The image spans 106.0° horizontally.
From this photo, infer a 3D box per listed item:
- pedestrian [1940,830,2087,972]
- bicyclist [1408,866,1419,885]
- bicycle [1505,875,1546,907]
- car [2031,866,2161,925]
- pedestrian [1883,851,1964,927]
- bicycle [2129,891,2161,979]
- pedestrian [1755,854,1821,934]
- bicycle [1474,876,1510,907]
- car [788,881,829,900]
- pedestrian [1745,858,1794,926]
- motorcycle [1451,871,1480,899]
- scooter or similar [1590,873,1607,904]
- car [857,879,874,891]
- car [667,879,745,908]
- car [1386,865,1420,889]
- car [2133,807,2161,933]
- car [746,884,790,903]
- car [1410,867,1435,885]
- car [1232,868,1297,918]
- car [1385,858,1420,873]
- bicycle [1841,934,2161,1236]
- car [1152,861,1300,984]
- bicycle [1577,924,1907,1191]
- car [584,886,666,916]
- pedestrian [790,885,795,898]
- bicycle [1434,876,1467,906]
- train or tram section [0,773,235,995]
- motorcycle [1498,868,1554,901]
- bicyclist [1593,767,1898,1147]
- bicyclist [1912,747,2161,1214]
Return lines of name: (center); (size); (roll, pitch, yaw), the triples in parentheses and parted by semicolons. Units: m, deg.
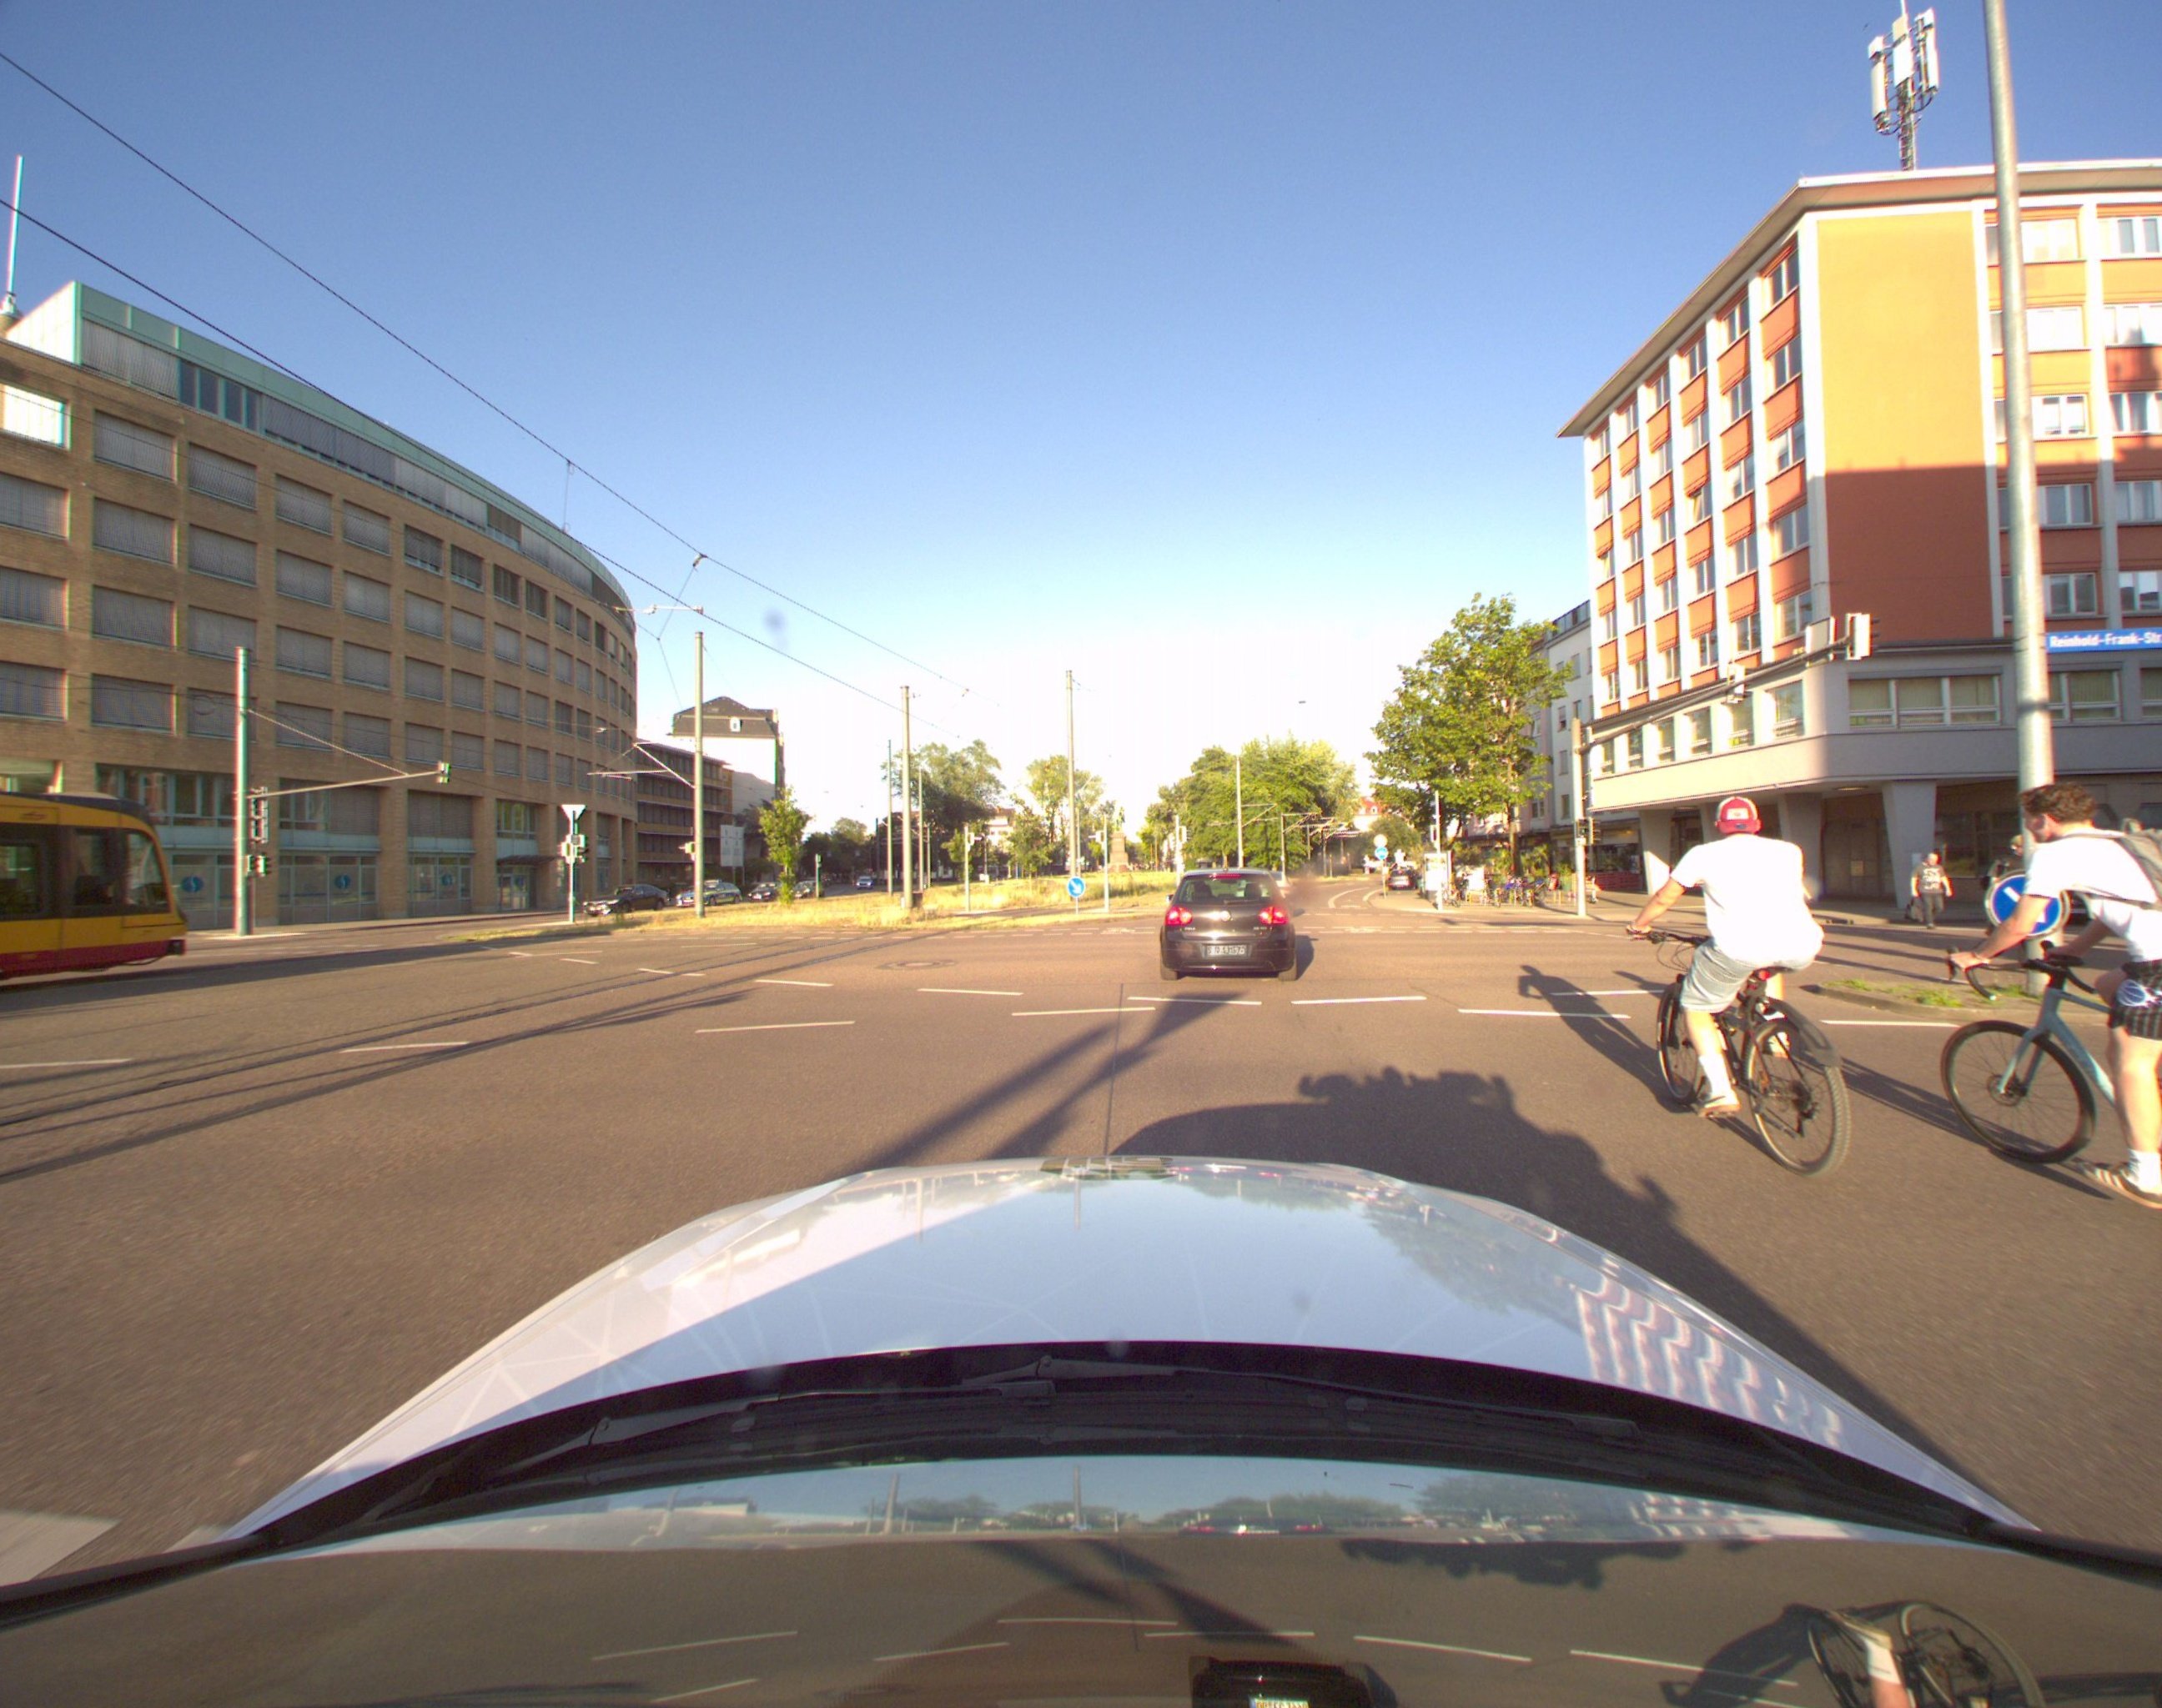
pedestrian: (11.860, 0.576, 10.402); (0.658, 1.704, 1.074); (-1, -1, 9)
bicyclist: (28.098, 1.839, 68.867); (0.770, 1.618, 1.031); (-1, -1, 27)
bicycle: (17.909, 1.470, 32.848); (0.641, 1.158, 2.127); (-1, 0, 6)
car: (26.813, 0.977, 19.943); (4.638, 1.341, 1.842); (-1, -1, 5)
pedestrian: (19.557, 0.802, 18.924); (0.779, 1.701, 1.028); (-1, -1, 5)
bicycle: (12.436, 0.910, 8.574); (0.518, 0.981, 1.853); (-1, -1, 6)
pedestrian: (14.431, 0.799, 16.646); (0.677, 1.589, 0.748); (-1, -1, 8)
bicycle: (16.605, 1.495, 32.944); (0.641, 1.127, 1.877); (-1, 0, 6)
car: (-20.837, 2.760, 62.453); (1.638, 1.281, 3.744); (-1, -1, 4)
pedestrian: (17.790, 0.967, 21.050); (0.566, 1.701, 0.813); (-1, -1, 5)
motorcycle: (17.937, 1.420, 38.026); (0.662, 1.242, 2.207); (-1, -1, 10)
scooter or similar: (21.709, 1.429, 34.175); (0.411, 1.254, 1.189); (-2, -1, 23)
car: (-29.229, 4.205, 110.540); (1.771, 1.482, 4.293); (-1, -1, -11)
car: (-21.837, 2.289, 47.625); (1.879, 1.480, 4.790); (-1, -1, 7)
car: (22.258, 1.553, 56.189); (1.712, 1.472, 3.922); (-4, -3, 27)
car: (23.827, 0.261, 15.321); (5.226, 2.482, 1.927); (-1, -1, 3)
car: (-21.345, 2.657, 55.670); (1.514, 1.153, 3.600); (-1, -1, 2)
car: (33.296, 2.131, 79.367); (1.765, 1.557, 4.260); (-5, -3, 28)
car: (5.994, 1.195, 26.335); (1.851, 1.441, 4.213); (-2, -1, 15)
car: (57.705, 2.084, 146.184); (5.491, 2.595, 2.155); (-1, -1, 1)
bicycle: (4.524, 0.960, 3.713); (0.572, 1.028, 1.861); (-1, -1, 9)
car: (2.184, 0.854, 11.825); (1.735, 1.461, 4.117); (-1, -1, 13)
bicycle: (3.514, 0.980, 4.585); (0.475, 1.028, 1.986); (-1, -1, 9)
car: (-22.340, 2.265, 40.050); (1.717, 1.282, 3.793); (-1, -1, 4)
pedestrian: (-33.547, 4.357, 94.682); (0.411, 1.430, 0.486); (-1, -1, 4)
bicycle: (14.954, 1.494, 32.979); (0.641, 1.127, 1.877); (-1, 0, 6)
train or tram section: (-18.667, 0.465, 11.100); (2.761, 3.536, 10.579); (-1, -1, 3)
motorcycle: (19.627, 1.358, 35.943); (2.030, 1.406, 0.763); (-1, -1, 11)
bicyclist: (3.524, 0.503, 4.457); (0.822, 1.807, 1.060); (-1, -1, 8)
bicyclist: (4.539, 0.489, 3.620); (0.670, 1.807, 0.996); (-1, -1, 8)
